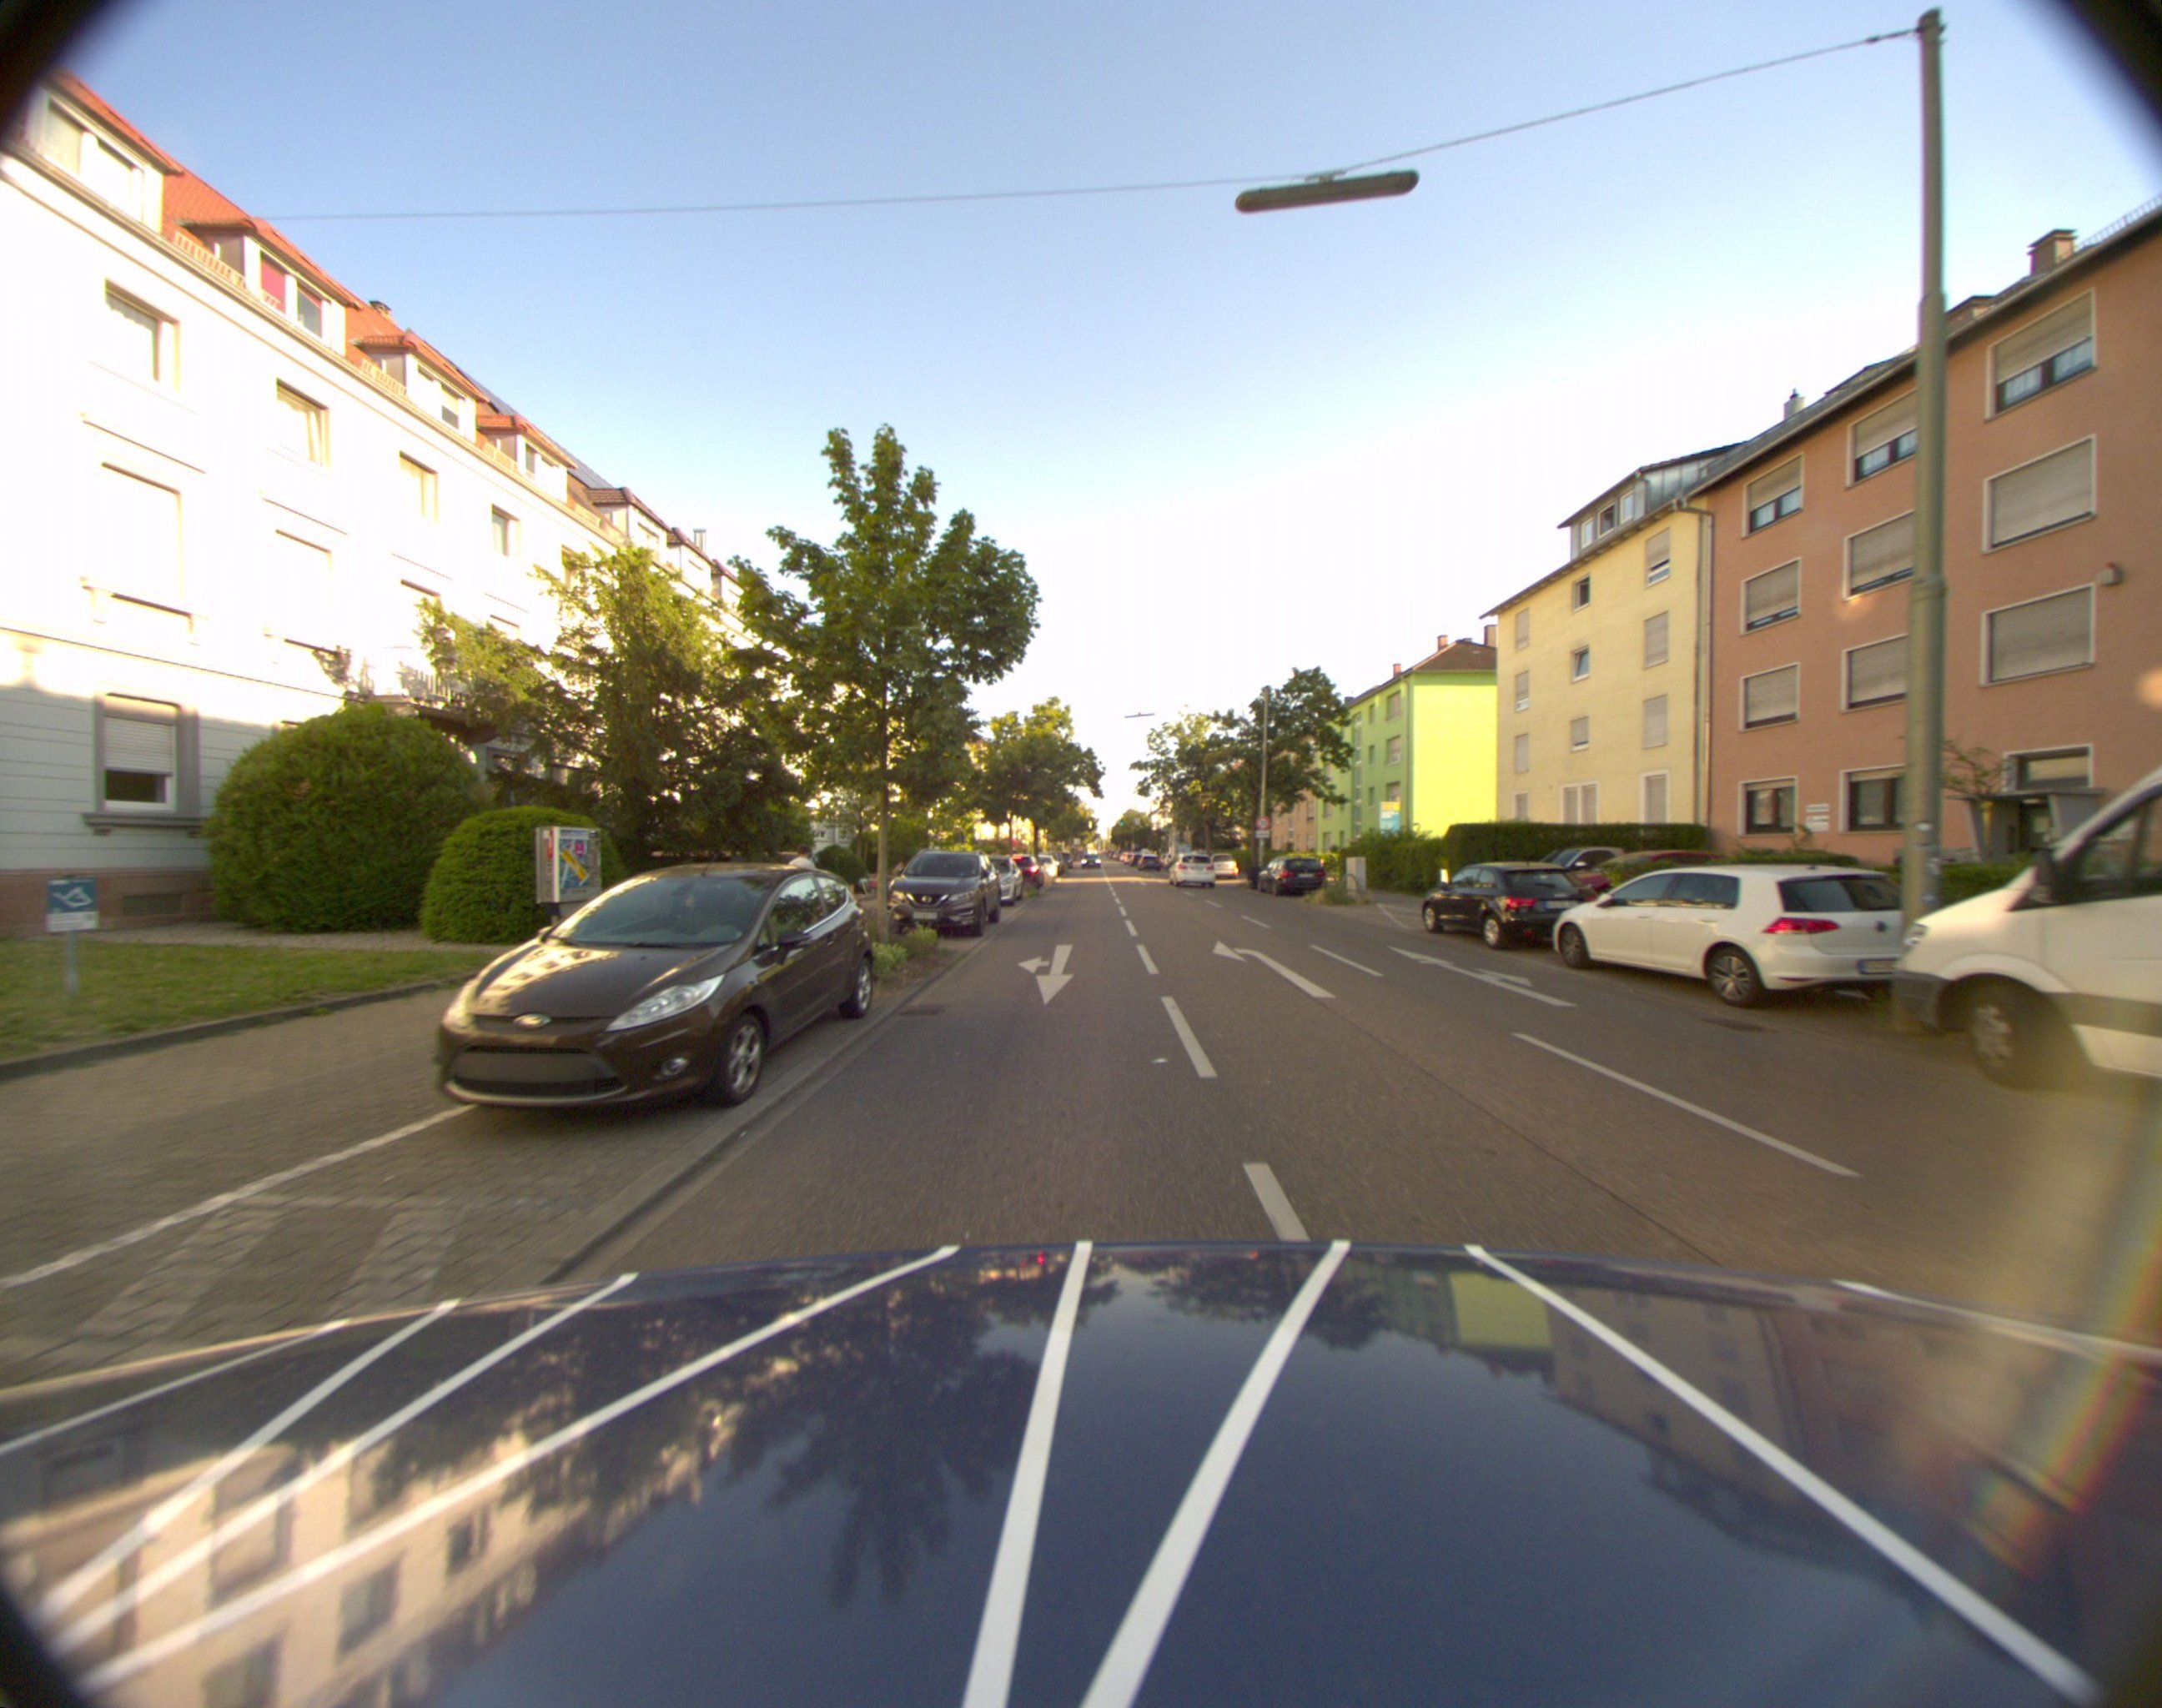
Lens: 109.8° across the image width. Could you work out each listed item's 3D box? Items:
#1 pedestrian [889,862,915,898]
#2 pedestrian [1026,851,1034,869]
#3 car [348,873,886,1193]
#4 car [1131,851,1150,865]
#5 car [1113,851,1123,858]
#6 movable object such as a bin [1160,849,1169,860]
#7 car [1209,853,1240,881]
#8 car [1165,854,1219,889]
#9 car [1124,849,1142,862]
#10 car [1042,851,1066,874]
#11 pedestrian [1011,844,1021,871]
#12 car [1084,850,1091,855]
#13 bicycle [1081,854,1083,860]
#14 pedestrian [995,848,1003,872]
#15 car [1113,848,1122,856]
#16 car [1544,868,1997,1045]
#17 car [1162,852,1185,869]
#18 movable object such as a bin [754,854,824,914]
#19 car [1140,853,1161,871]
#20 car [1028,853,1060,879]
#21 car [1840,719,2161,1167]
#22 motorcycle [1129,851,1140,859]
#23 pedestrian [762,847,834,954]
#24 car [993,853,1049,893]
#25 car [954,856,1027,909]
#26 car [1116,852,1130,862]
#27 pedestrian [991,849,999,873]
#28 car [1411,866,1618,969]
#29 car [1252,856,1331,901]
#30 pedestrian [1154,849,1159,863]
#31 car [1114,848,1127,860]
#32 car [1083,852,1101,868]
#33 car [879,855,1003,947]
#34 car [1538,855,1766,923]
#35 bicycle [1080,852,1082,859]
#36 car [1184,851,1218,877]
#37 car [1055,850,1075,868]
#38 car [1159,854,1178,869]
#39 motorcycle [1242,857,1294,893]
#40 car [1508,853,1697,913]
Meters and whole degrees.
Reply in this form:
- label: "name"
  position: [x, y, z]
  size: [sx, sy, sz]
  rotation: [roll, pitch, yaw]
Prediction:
- label: "pedestrian"
  position: [-6.287, 0.903, 26.754]
  size: [0.674, 1.227, 0.790]
  rotation: [-1, 1, 2]
- label: "pedestrian"
  position: [-4.589, 0.550, 67.983]
  size: [0.558, 1.559, 0.747]
  rotation: [0, 1, -17]
- label: "car"
  position: [-2.842, 0.948, 5.788]
  size: [1.617, 1.457, 3.959]
  rotation: [1, 0, 1]
- label: "car"
  position: [6.397, 0.384, 81.969]
  size: [1.704, 1.395, 4.027]
  rotation: [2, 0, 1]
- label: "car"
  position: [7.449, 0.088, 151.820]
  size: [1.841, 1.465, 4.671]
  rotation: [2, 0, 1]
- label: "movable object such as a bin"
  position: [14.343, 0.063, 130.237]
  size: [1.309, 1.649, 1.180]
  rotation: [-4, 2, 1]
- label: "car"
  position: [8.548, 0.752, 45.530]
  size: [1.502, 1.607, 2.862]
  rotation: [0, 0, 4]
- label: "car"
  position: [5.155, 0.797, 35.879]
  size: [1.884, 1.534, 4.266]
  rotation: [1, 0, -1]
- label: "car"
  position: [6.476, 0.196, 94.826]
  size: [1.837, 1.462, 4.451]
  rotation: [3, 0, -1]
- label: "car"
  position: [-1.988, 0.576, 56.125]
  size: [1.726, 1.646, 4.596]
  rotation: [0, 0, -2]
- label: "pedestrian"
  position: [-4.579, 0.247, 53.375]
  size: [0.549, 1.839, 0.765]
  rotation: [0, 1, 8]
- label: "car"
  position: [1.810, -0.387, 202.010]
  size: [1.744, 1.509, 3.811]
  rotation: [0, 1, 3]
- label: "bicycle"
  position: [0.141, 0.483, 135.076]
  size: [0.325, 0.981, 1.191]
  rotation: [0, 1, 5]
- label: "pedestrian"
  position: [-5.771, 0.419, 53.290]
  size: [0.512, 1.687, 0.527]
  rotation: [0, 1, -4]
- label: "car"
  position: [8.179, -0.424, 169.791]
  size: [1.866, 1.819, 5.228]
  rotation: [2, 1, 4]
- label: "car"
  position: [7.596, 0.983, 9.036]
  size: [1.711, 1.483, 4.058]
  rotation: [-2, 0, 1]
- label: "car"
  position: [9.008, 0.603, 74.051]
  size: [1.641, 1.543, 3.785]
  rotation: [0, 0, -2]
- label: "movable object such as a bin"
  position: [-7.687, 0.767, 20.084]
  size: [1.269, 1.484, 1.140]
  rotation: [2, 1, 11]
- label: "car"
  position: [6.021, 0.636, 65.956]
  size: [1.703, 1.462, 4.295]
  rotation: [1, 0, 4]
- label: "car"
  position: [-2.177, 0.693, 45.860]
  size: [1.641, 1.482, 4.415]
  rotation: [1, 0, 1]
- label: "car"
  position: [7.228, 0.508, 2.732]
  size: [1.998, 2.601, 7.105]
  rotation: [-1, 0, 1]
- label: "motorcycle"
  position: [10.286, 0.145, 145.907]
  size: [1.263, 1.526, 2.887]
  rotation: [0, 1, -13]
- label: "pedestrian"
  position: [-4.626, 0.740, 12.470]
  size: [0.789, 1.691, 0.808]
  rotation: [0, 1, 6]
- label: "car"
  position: [-2.580, 0.777, 33.708]
  size: [1.879, 1.572, 4.821]
  rotation: [1, 0, 3]
- label: "car"
  position: [-2.716, 0.810, 23.642]
  size: [1.722, 1.485, 4.393]
  rotation: [0, 0, 0]
- label: "car"
  position: [6.428, 0.390, 117.349]
  size: [1.820, 1.438, 4.110]
  rotation: [2, 0, 0]
- label: "pedestrian"
  position: [-6.171, 0.515, 54.464]
  size: [0.512, 1.687, 0.527]
  rotation: [0, 1, -4]
- label: "car"
  position: [7.527, 1.016, 13.660]
  size: [1.616, 1.464, 3.813]
  rotation: [-2, 0, 2]
- label: "car"
  position: [7.784, 0.851, 28.504]
  size: [1.783, 1.496, 4.588]
  rotation: [0, 0, 1]
- label: "pedestrian"
  position: [11.387, 0.308, 114.432]
  size: [0.645, 2.002, 0.814]
  rotation: [-1, 2, 2]
- label: "car"
  position: [6.744, -0.057, 129.854]
  size: [1.998, 1.934, 4.777]
  rotation: [2, 0, 1]
- label: "car"
  position: [1.092, 0.545, 75.558]
  size: [1.641, 1.482, 4.415]
  rotation: [1, 0, 1]
- label: "car"
  position: [-2.680, 0.825, 15.428]
  size: [1.722, 1.592, 4.096]
  rotation: [0, 0, 1]
- label: "car"
  position: [13.563, 0.808, 18.251]
  size: [3.996, 1.405, 1.916]
  rotation: [-2, 0, 1]
- label: "bicycle"
  position: [0.022, 0.249, 132.240]
  size: [0.325, 1.138, 1.800]
  rotation: [0, 1, -4]
- label: "car"
  position: [8.575, 0.676, 54.633]
  size: [1.788, 1.723, 4.617]
  rotation: [0, 0, 2]
- label: "car"
  position: [-1.514, 0.463, 73.626]
  size: [1.796, 1.622, 4.029]
  rotation: [0, 0, 0]
- label: "car"
  position: [9.058, 0.737, 78.827]
  size: [1.657, 1.471, 3.943]
  rotation: [0, 0, 2]
- label: "motorcycle"
  position: [8.005, 0.885, 32.538]
  size: [2.031, 1.381, 0.988]
  rotation: [-3, 2, -31]
- label: "car"
  position: [14.076, 0.757, 20.662]
  size: [3.997, 1.520, 1.629]
  rotation: [-1, 1, 1]
